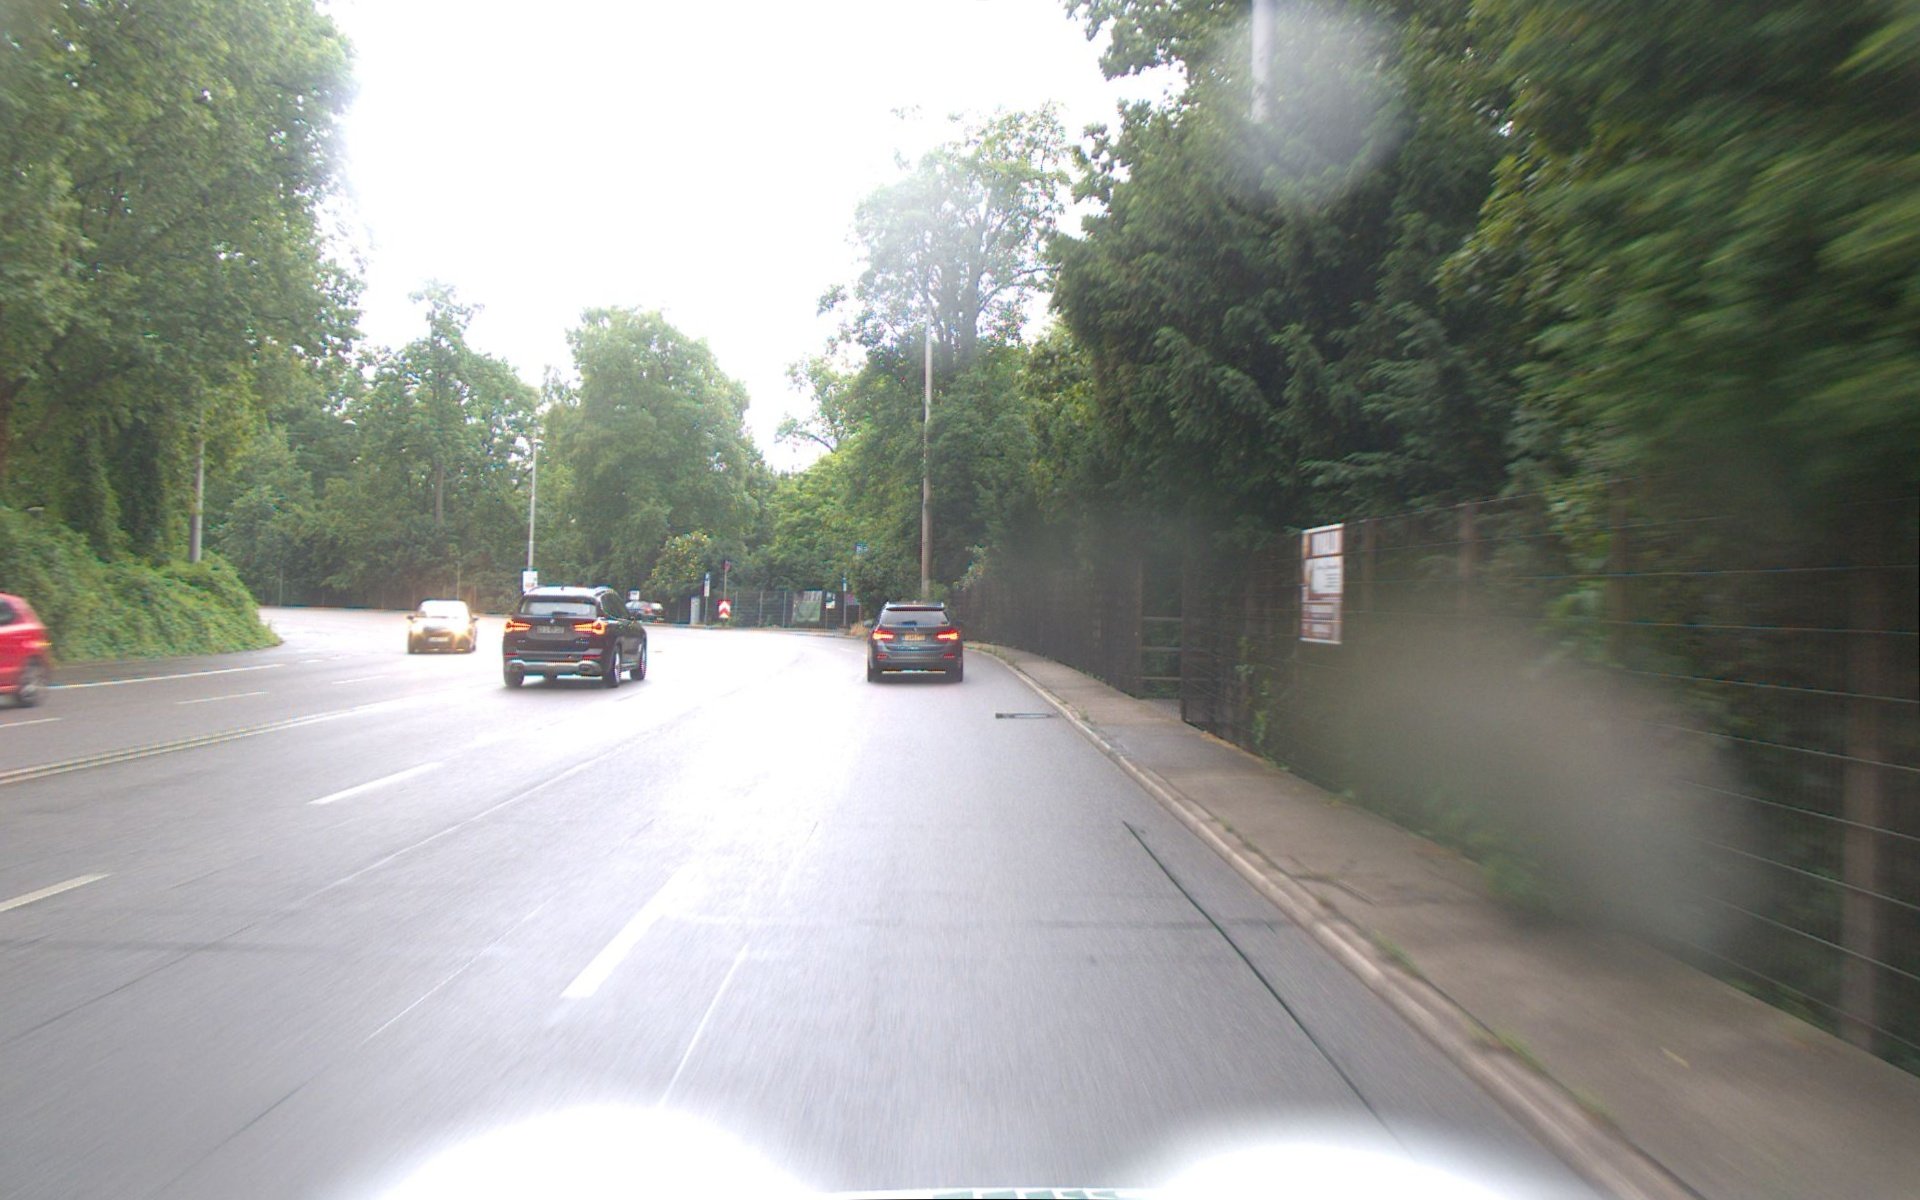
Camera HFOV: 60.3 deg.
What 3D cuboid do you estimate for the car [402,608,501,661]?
[{"bbox_3d":[-14.044,0.927,45.876,1.667,1.363,3.913,1,0,-2],"label":"car"}]

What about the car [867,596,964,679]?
[{"bbox_3d":[-0.876,0.669,31.624,1.722,1.457,4.410,0,0,-2],"label":"car"}]

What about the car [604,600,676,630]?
[{"bbox_3d":[-17.967,0.817,92.802,4.293,1.451,1.682,2,-3,42],"label":"car"}]

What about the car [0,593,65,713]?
[{"bbox_3d":[-12.278,0.626,19.300,1.548,1.439,3.961,1,0,-1],"label":"car"}]

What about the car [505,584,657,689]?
[{"bbox_3d":[-6.458,0.590,28.665,1.722,1.613,4.410,2,0,-2],"label":"car"}]
